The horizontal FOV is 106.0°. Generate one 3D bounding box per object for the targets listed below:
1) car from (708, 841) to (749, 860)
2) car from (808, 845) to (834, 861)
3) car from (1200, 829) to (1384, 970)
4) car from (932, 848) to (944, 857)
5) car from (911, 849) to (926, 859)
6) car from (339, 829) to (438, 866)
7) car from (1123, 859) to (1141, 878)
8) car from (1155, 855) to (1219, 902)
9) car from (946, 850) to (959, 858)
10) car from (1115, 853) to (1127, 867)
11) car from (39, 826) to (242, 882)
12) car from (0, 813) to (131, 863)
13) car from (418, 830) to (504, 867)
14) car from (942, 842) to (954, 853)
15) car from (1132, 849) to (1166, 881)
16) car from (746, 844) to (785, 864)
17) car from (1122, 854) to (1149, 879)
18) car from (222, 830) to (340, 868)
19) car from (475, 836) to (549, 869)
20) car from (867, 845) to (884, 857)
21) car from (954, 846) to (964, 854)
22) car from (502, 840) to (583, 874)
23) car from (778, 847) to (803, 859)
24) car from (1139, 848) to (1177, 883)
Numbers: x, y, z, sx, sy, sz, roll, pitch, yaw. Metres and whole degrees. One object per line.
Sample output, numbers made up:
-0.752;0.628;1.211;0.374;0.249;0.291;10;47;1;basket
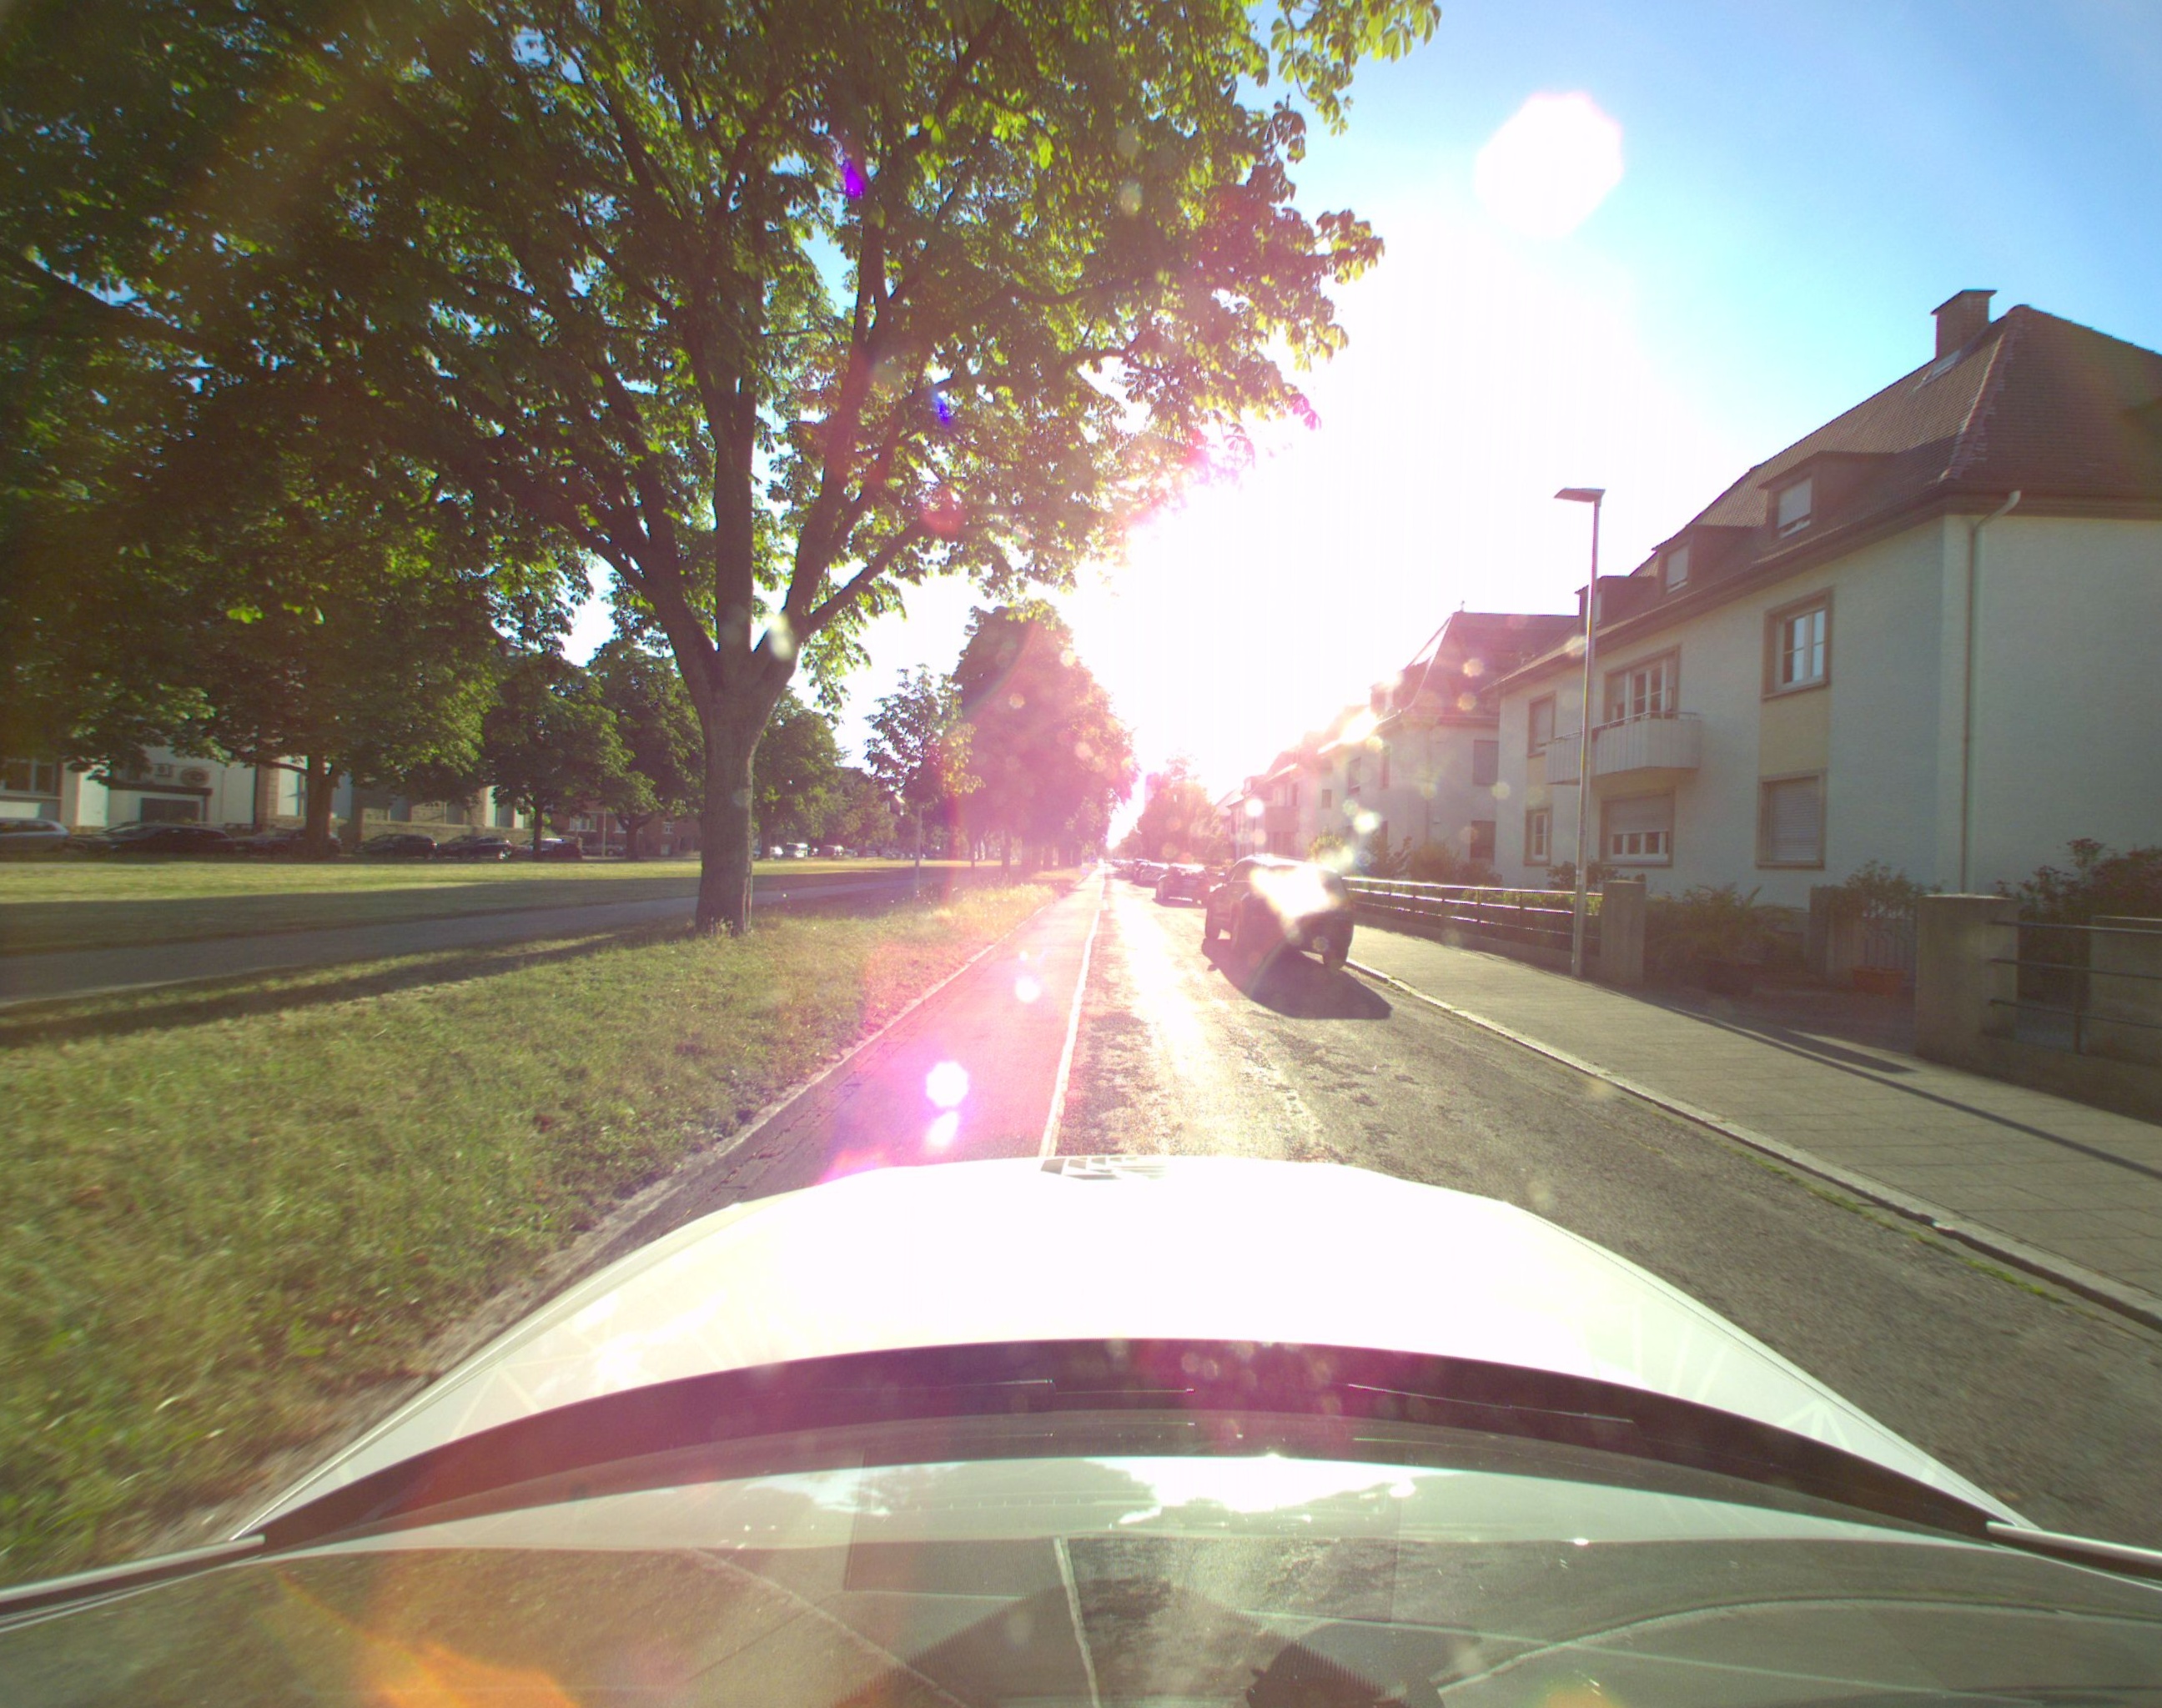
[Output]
-36.687;-0.333;84.851;1.985;1.659;4.358;4;-1;3;car
-31.584;-0.129;98.992;1.722;1.690;3.877;4;-2;0;car
3.489;0.680;14.415;1.987;1.903;4.390;6;0;0;car
-32.984;-0.389;187.837;1.872;1.752;3.798;4;-1;2;car
-34.385;0.008;172.365;1.986;1.913;4.001;4;-1;2;car
-38.037;-0.327;44.877;1.858;1.803;3.917;4;-1;2;car
5.708;1.634;91.477;1.685;2.014;3.626;4;-1;2;car
4.079;0.936;31.886;1.987;1.654;4.000;3;-1;1;car
-27.198;-0.027;172.429;1.986;1.734;4.001;2;0;1;car
6.283;0.977;129.709;1.685;2.014;3.626;4;-1;2;car
-32.934;0.051;28.744;1.872;1.674;4.317;4;-1;2;car
-38.681;-0.595;29.645;1.987;1.689;5.157;4;-1;0;car
-37.875;-0.306;49.872;1.987;2.014;3.999;4;-1;0;car
-27.109;-1.266;165.938;1.648;1.938;3.567;4;-2;1;car
4.748;0.808;57.685;1.987;2.014;4.000;4;-1;1;car
-30.818;0.042;79.675;2.015;1.659;3.985;4;-1;2;car
4.795;1.143;71.872;1.987;2.014;4.000;4;-1;1;car
-38.140;-0.219;38.973;1.752;1.583;3.792;4;0;1;car
-37.959;-0.054;54.478;1.987;2.014;3.999;4;-1;0;car
-34.293;-0.446;135.747;1.723;1.762;3.346;4;-1;1;car
-33.738;-0.987;225.956;1.986;2.014;4.001;4;-1;2;car
-32.260;0.224;48.931;1.804;1.781;4.124;4;-1;2;car
-36.352;-0.142;101.839;1.677;1.342;3.472;4;-1;2;car
4.886;0.755;52.036;1.987;2.014;4.000;4;-1;1;car
